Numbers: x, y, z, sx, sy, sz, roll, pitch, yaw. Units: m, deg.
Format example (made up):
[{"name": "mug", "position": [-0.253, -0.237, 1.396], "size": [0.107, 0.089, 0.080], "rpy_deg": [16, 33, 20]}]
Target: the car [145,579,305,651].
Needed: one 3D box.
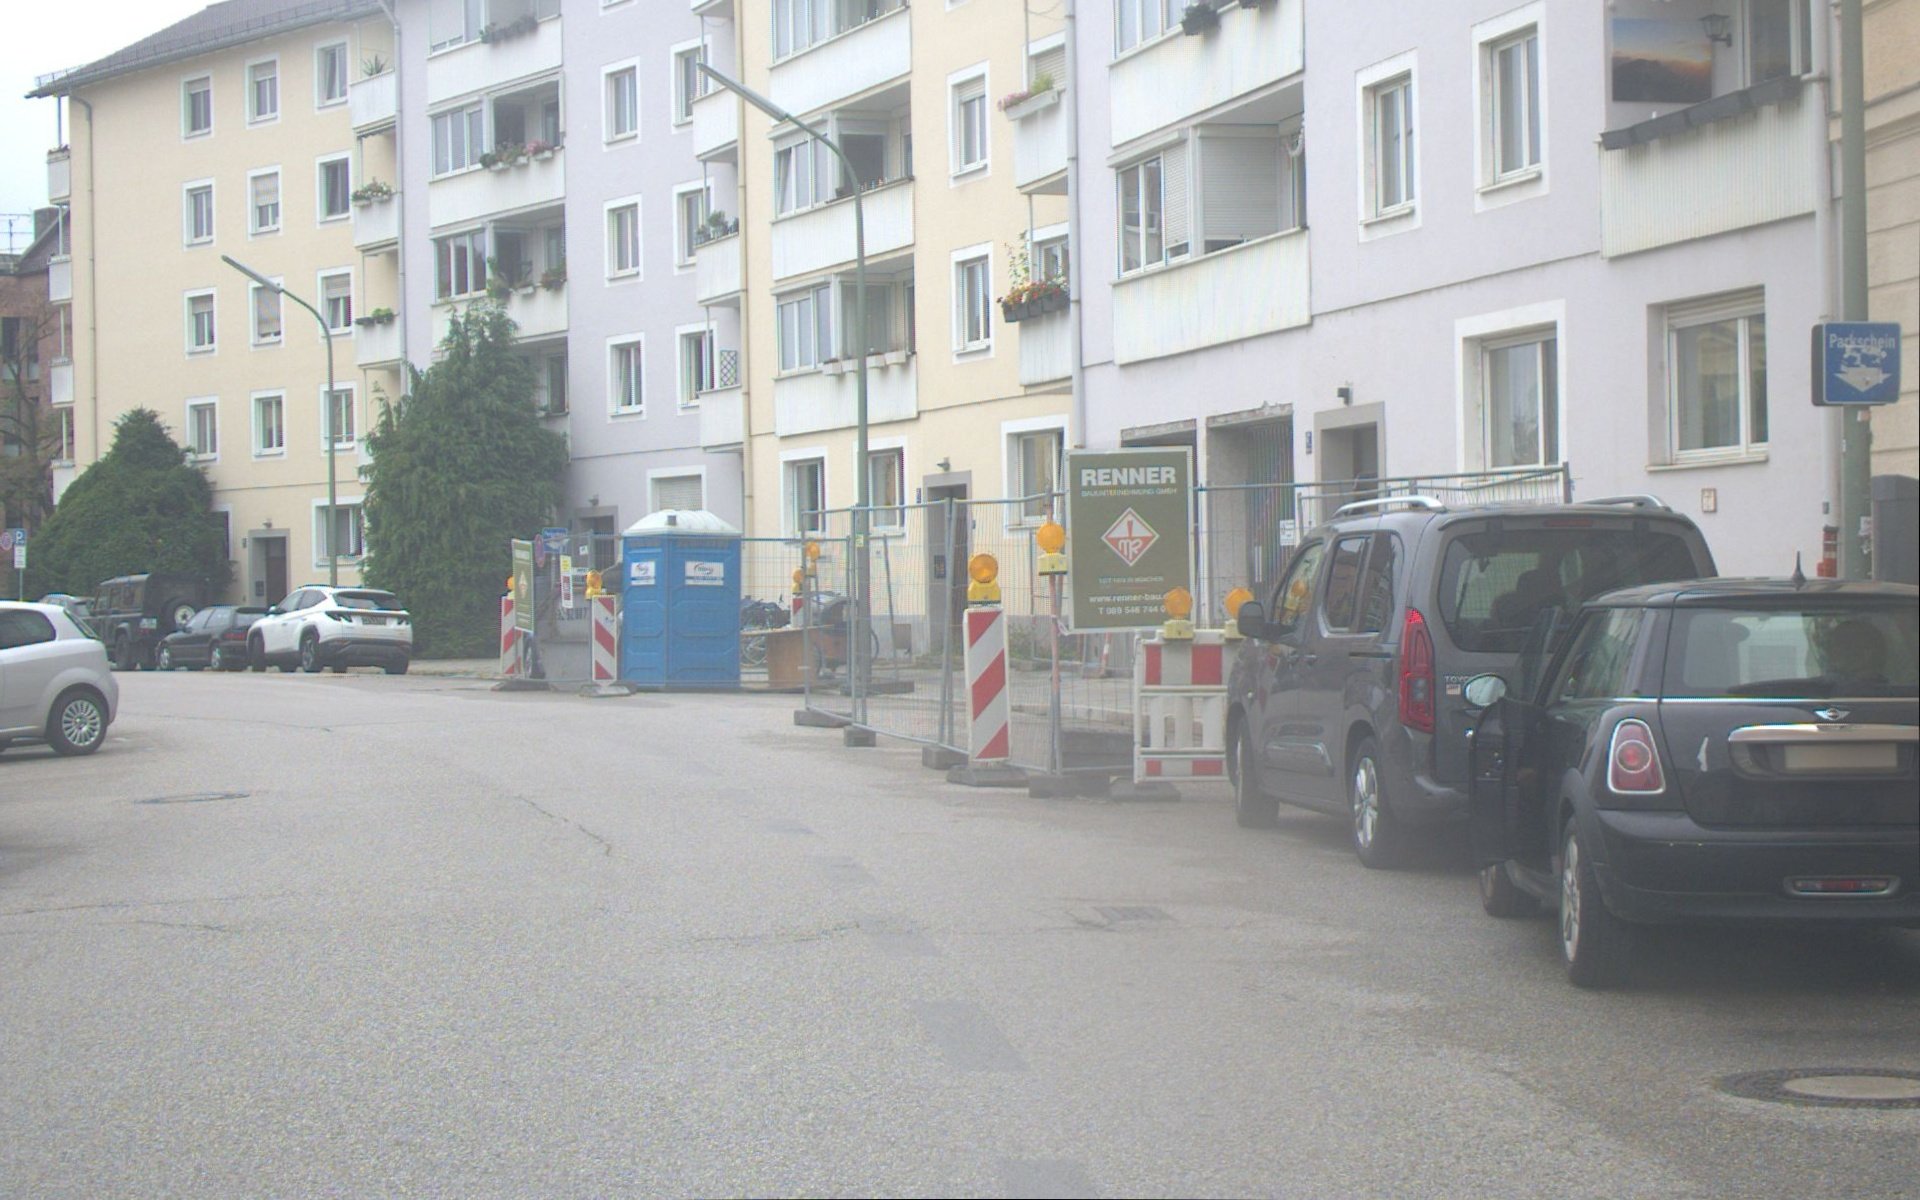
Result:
[{"name": "car", "position": [-14.575, 0.320, 68.076], "size": [1.659, 1.344, 3.803], "rpy_deg": [1, -2, -36]}]

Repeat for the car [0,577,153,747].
[{"name": "car", "position": [-9.460, 0.538, 31.072], "size": [1.674, 1.525, 3.973], "rpy_deg": [1, 0, 41]}]

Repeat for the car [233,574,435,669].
[{"name": "car", "position": [-11.661, 0.374, 63.819], "size": [2.026, 1.672, 4.612], "rpy_deg": [1, 0, -34]}]

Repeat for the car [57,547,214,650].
[{"name": "car", "position": [-17.310, -0.041, 72.033], "size": [1.747, 2.074, 4.515], "rpy_deg": [1, 0, -33]}]

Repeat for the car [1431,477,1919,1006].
[{"name": "car", "position": [2.973, 0.471, 13.187], "size": [1.836, 1.724, 3.730], "rpy_deg": [1, 0, 1]}]

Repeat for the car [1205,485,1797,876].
[{"name": "car", "position": [2.677, 0.374, 18.064], "size": [1.836, 1.793, 4.239], "rpy_deg": [1, 0, -9]}]
